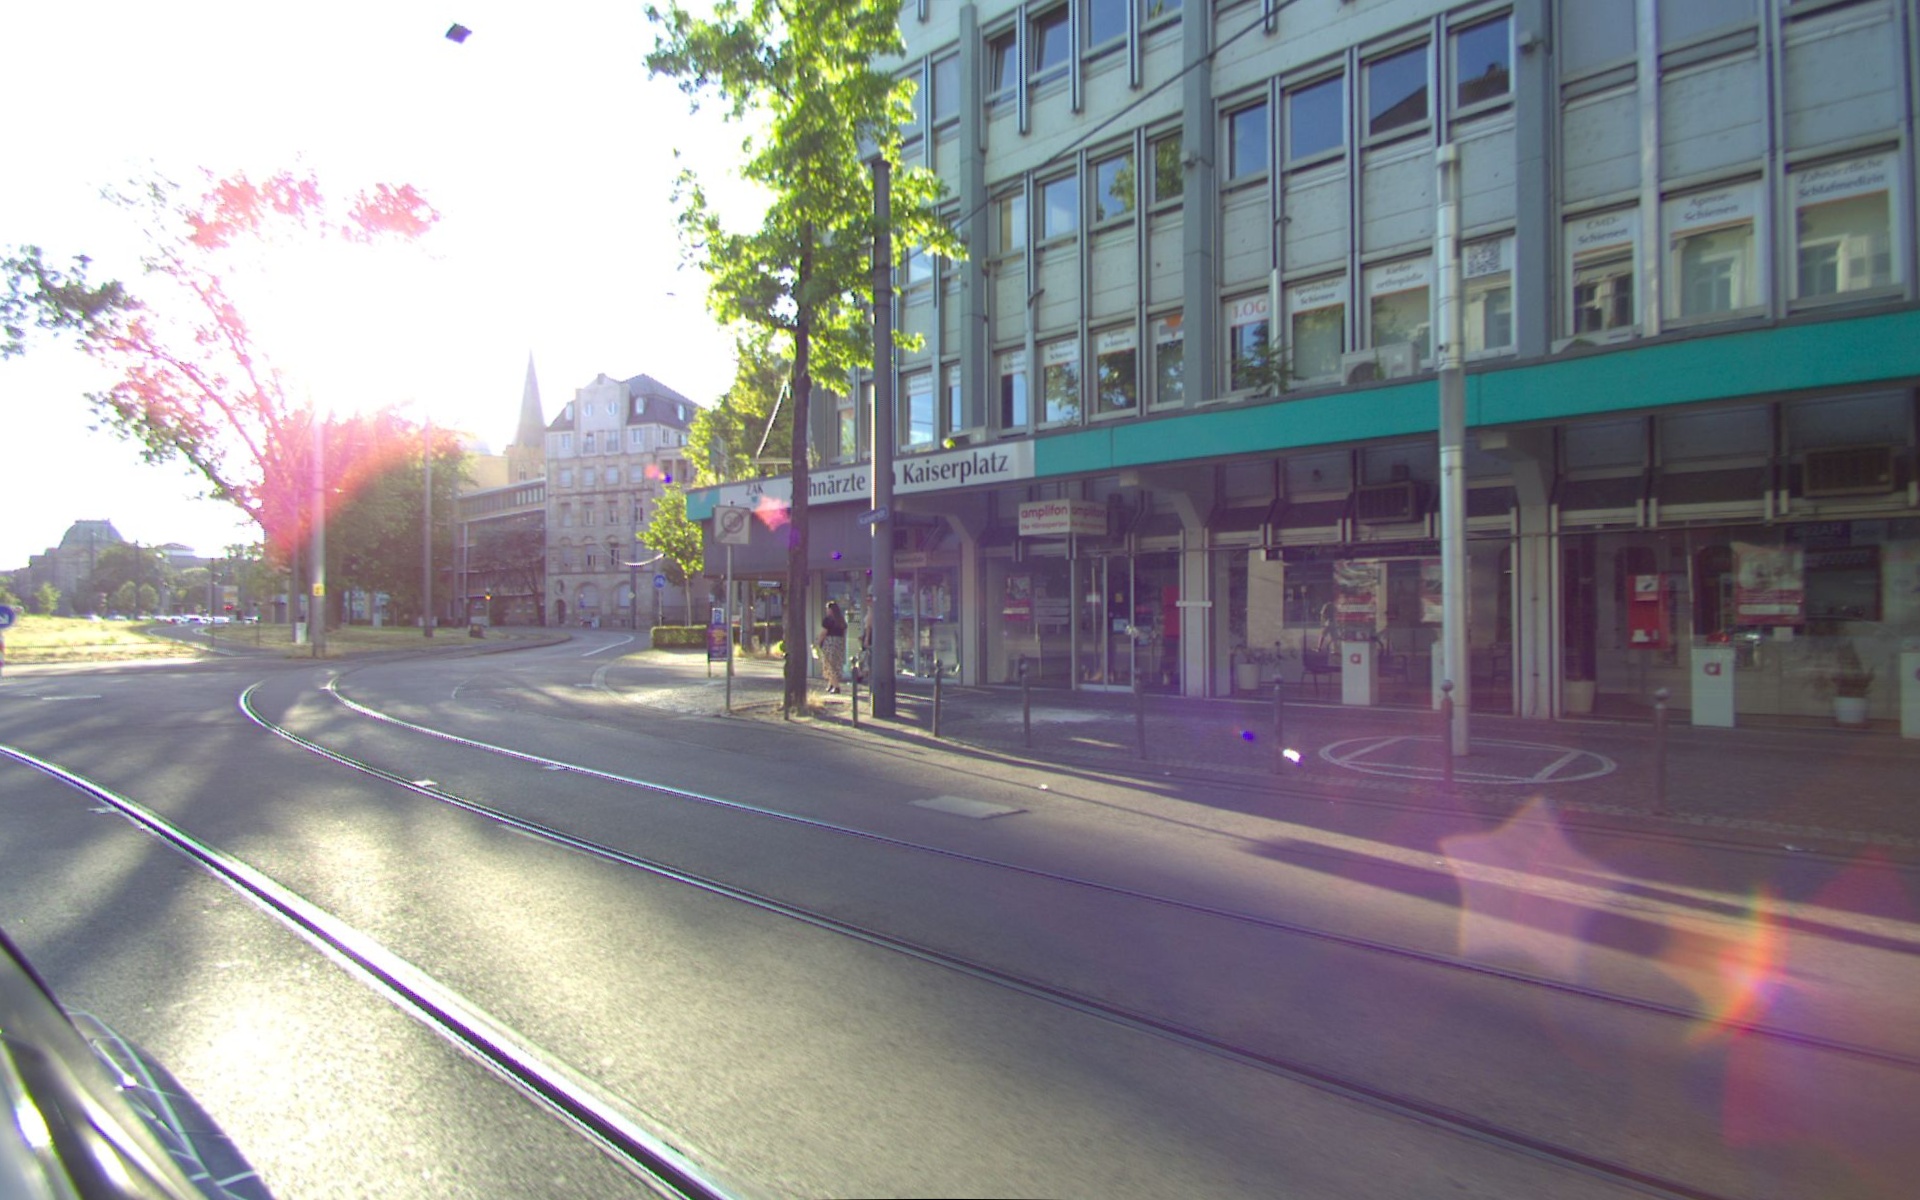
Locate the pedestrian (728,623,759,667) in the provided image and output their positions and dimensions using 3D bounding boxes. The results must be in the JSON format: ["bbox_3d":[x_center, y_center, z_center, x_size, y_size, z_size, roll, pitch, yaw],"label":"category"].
[{"bbox_3d":[-8.614,1.786,40.282,0.892,1.715,1.166,1,-1,-30],"label":"pedestrian"}]

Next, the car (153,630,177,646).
[{"bbox_3d":[-104.178,4.987,132.545,4.002,2.029,1.971,-1,-2,45],"label":"car"}]

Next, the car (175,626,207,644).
[{"bbox_3d":[-88.106,3.988,115.877,4.545,2.029,1.973,-1,-1,40],"label":"car"}]

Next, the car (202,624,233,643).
[{"bbox_3d":[-79.714,3.551,108.617,4.000,2.029,1.972,-1,-2,43],"label":"car"}]

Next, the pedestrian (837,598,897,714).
[{"bbox_3d":[-1.675,0.991,18.273,0.734,2.029,0.788,-1,-1,43],"label":"pedestrian"}]

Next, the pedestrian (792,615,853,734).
[{"bbox_3d":[-2.417,1.282,17.821,0.734,2.029,0.788,-1,-1,43],"label":"pedestrian"}]
